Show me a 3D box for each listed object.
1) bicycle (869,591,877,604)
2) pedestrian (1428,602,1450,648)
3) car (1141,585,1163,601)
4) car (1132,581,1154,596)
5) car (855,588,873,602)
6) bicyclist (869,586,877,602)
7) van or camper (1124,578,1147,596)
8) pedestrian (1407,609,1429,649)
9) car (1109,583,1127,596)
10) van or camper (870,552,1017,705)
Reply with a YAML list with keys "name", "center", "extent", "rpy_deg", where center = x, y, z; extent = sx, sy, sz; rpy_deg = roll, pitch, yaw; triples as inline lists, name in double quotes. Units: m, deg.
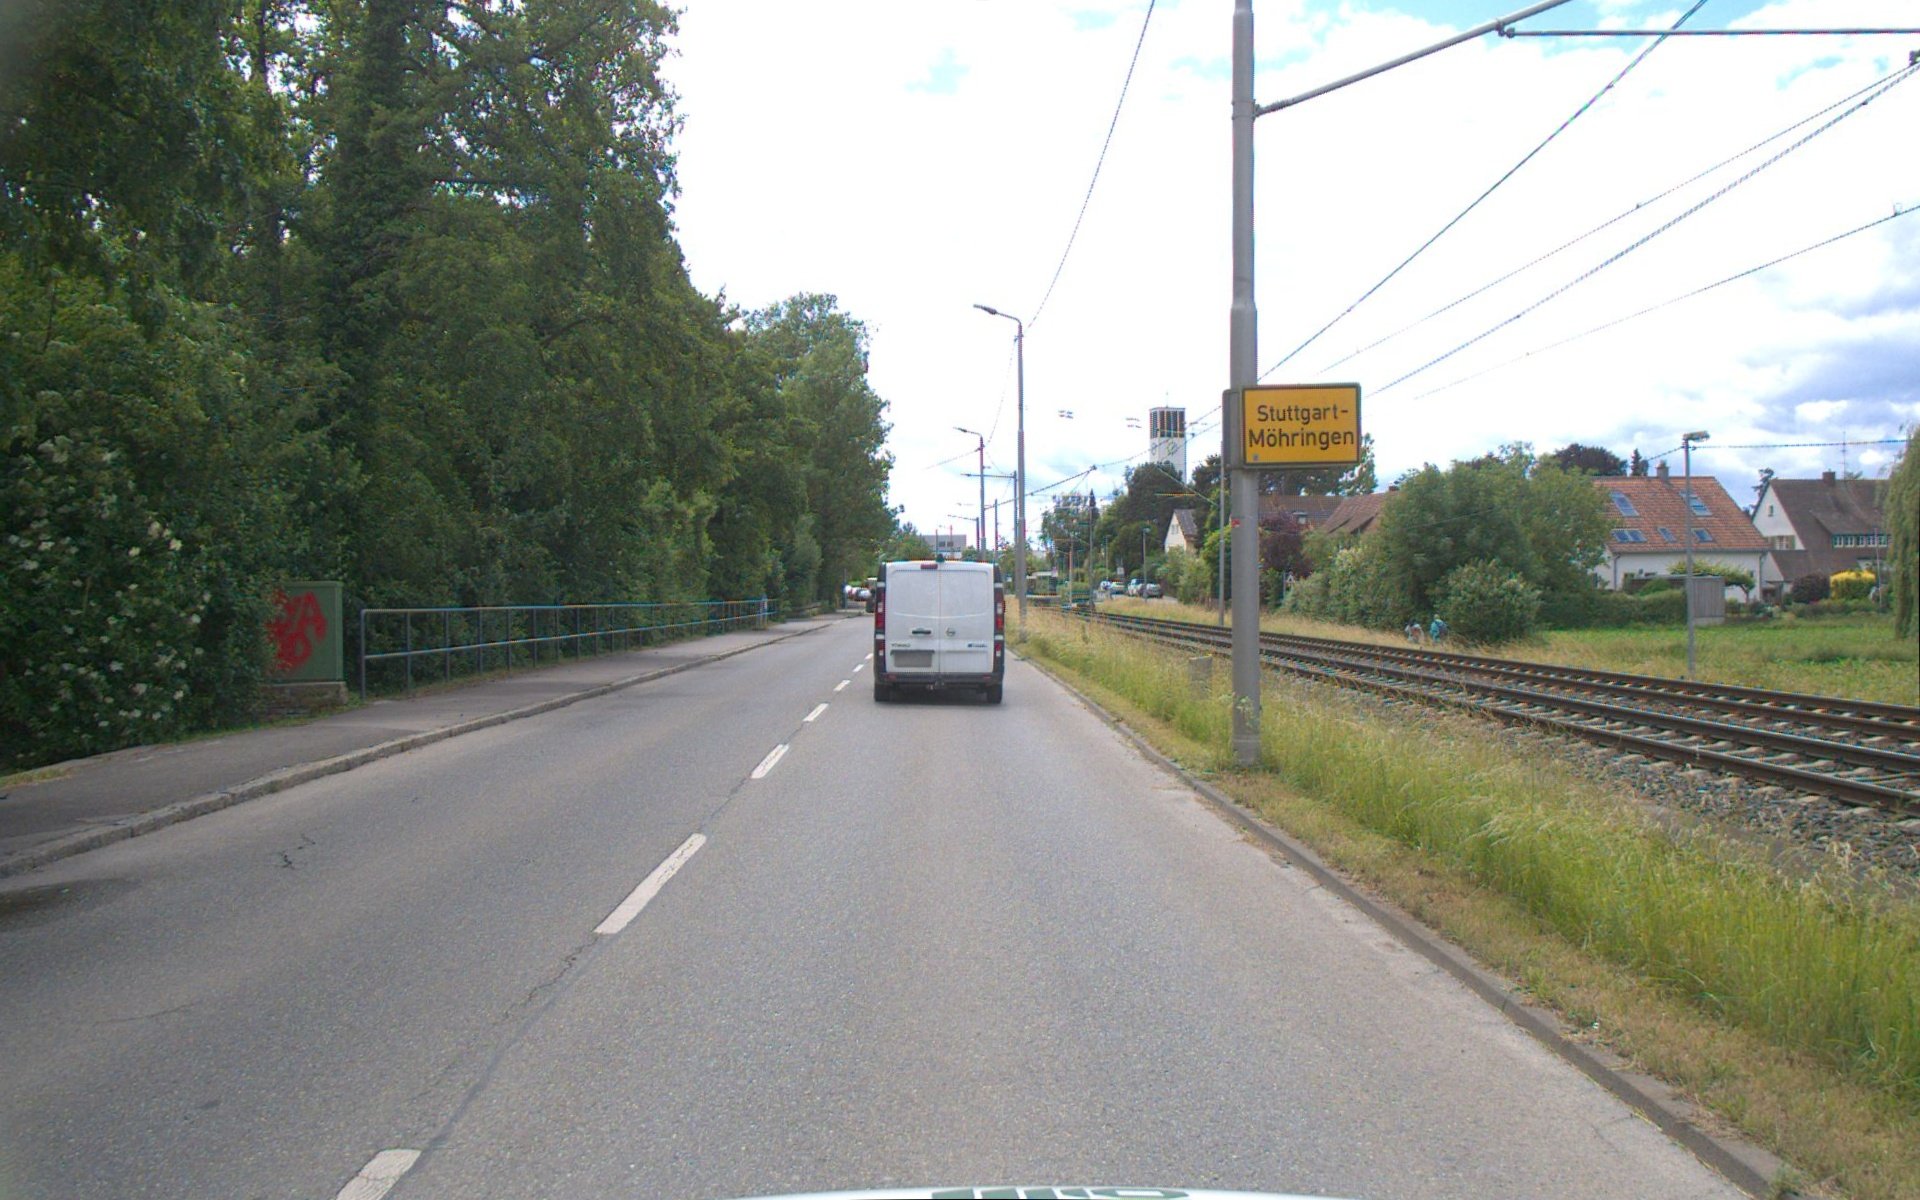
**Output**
- name: "bicycle"
  center: [-8.610, -0.239, 163.474]
  extent: [0.740, 1.248, 2.308]
  rpy_deg: [-2, 0, -1]
- name: "pedestrian"
  center: [17.630, 0.920, 60.893]
  extent: [0.604, 1.650, 0.584]
  rpy_deg: [1, 0, -1]
- name: "car"
  center: [19.799, -0.717, 170.550]
  extent: [1.845, 1.548, 4.000]
  rpy_deg: [-1, 0, 0]
- name: "car"
  center: [19.541, -1.241, 176.600]
  extent: [1.845, 1.548, 4.000]
  rpy_deg: [-1, 0, 0]
- name: "car"
  center: [-11.190, -0.638, 191.923]
  extent: [1.704, 1.531, 4.470]
  rpy_deg: [-2, 1, -7]
- name: "bicyclist"
  center: [-8.614, -0.628, 163.380]
  extent: [0.762, 1.576, 0.869]
  rpy_deg: [-1, 0, -2]
- name: "van or camper"
  center: [19.217, -1.438, 181.316]
  extent: [1.866, 1.857, 5.047]
  rpy_deg: [-1, 0, 0]
- name: "pedestrian"
  center: [16.820, 1.052, 60.789]
  extent: [0.585, 1.455, 0.666]
  rpy_deg: [1, 0, -1]
- name: "car"
  center: [19.369, -1.275, 203.025]
  extent: [1.845, 1.548, 4.000]
  rpy_deg: [-1, 0, 0]
- name: "van or camper"
  center: [-0.252, 0.386, 24.514]
  extent: [1.953, 2.049, 4.445]
  rpy_deg: [1, 0, -1]
